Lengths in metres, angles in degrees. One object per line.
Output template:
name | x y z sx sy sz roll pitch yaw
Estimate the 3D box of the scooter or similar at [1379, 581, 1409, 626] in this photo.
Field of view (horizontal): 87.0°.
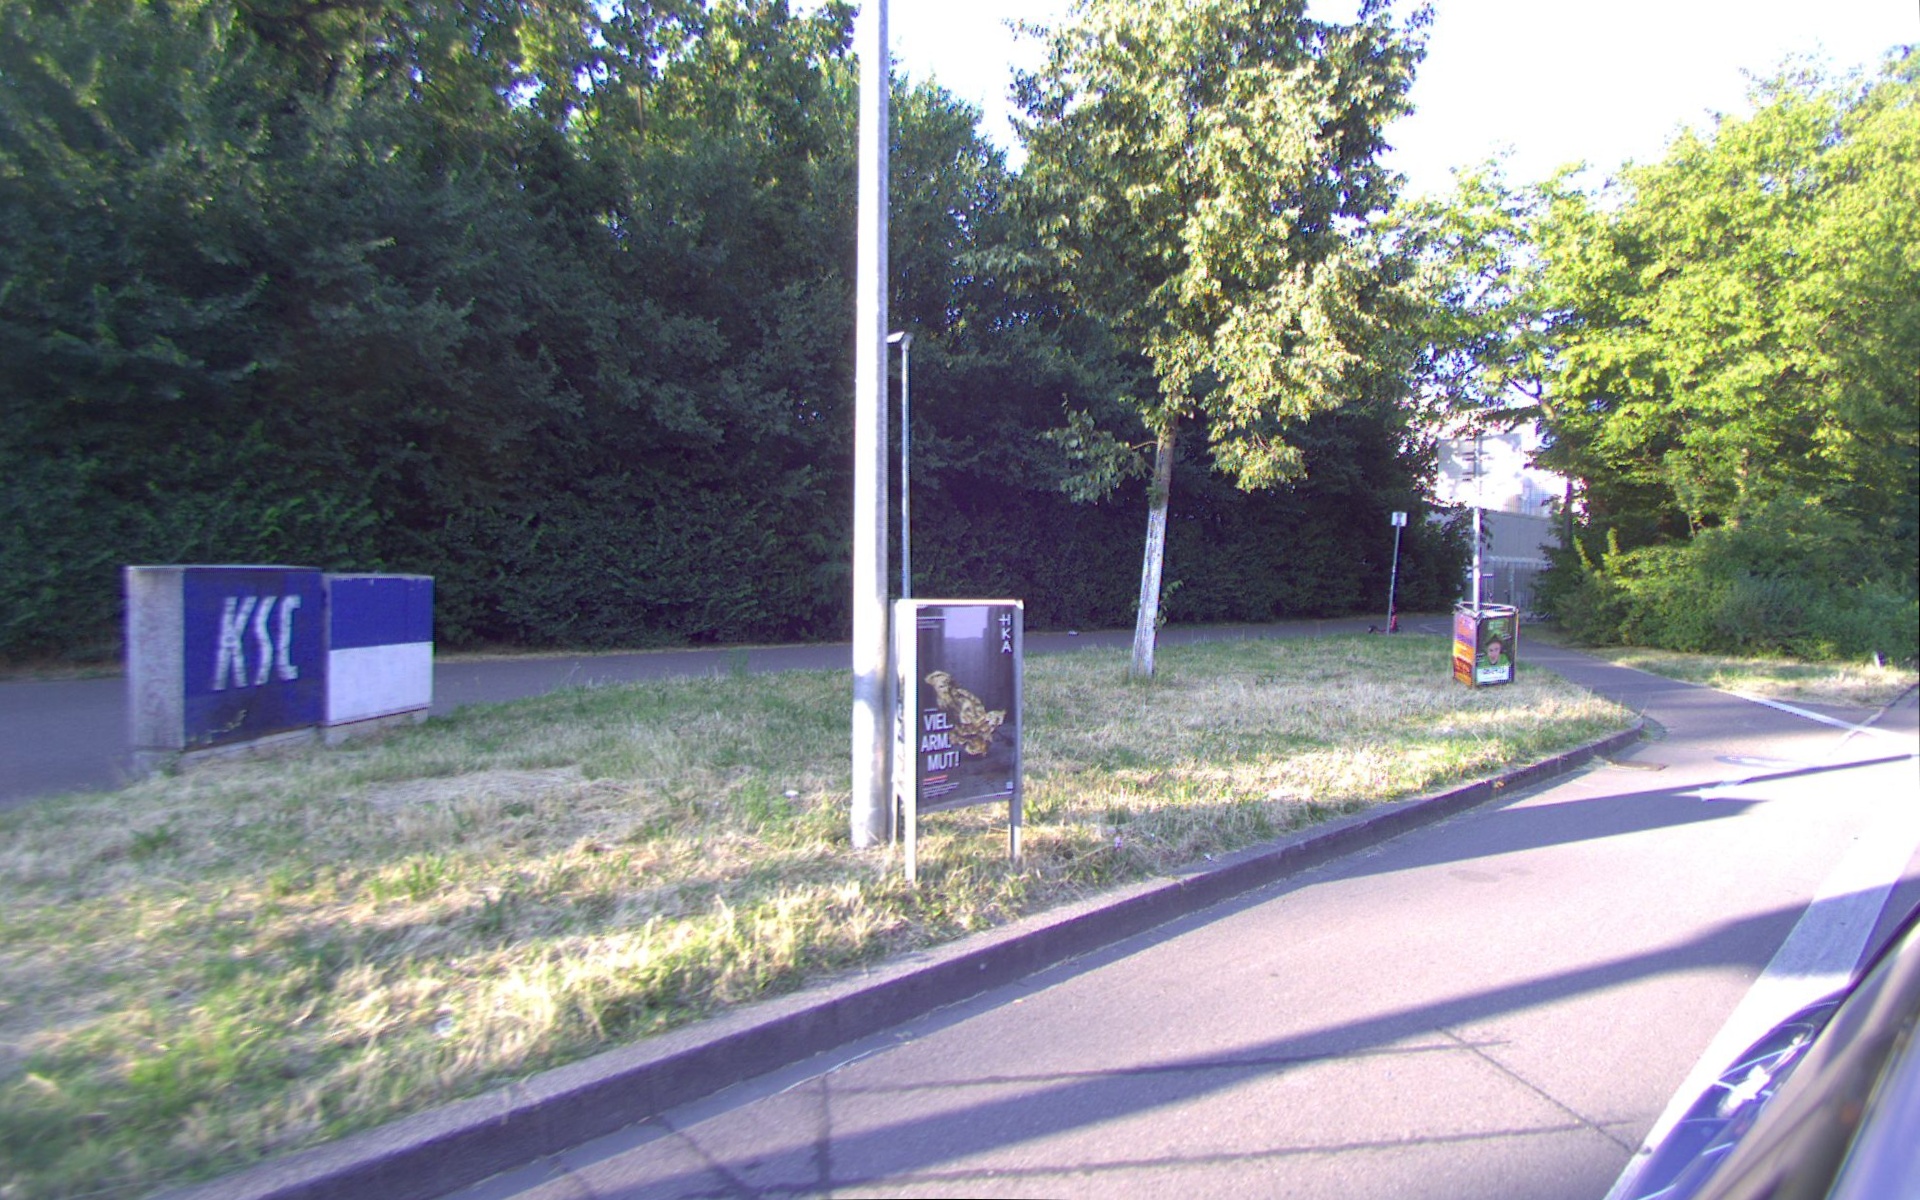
scooter or similar | 10.815 0.084 25.213 0.819 1.100 0.194 0 -1 -28
